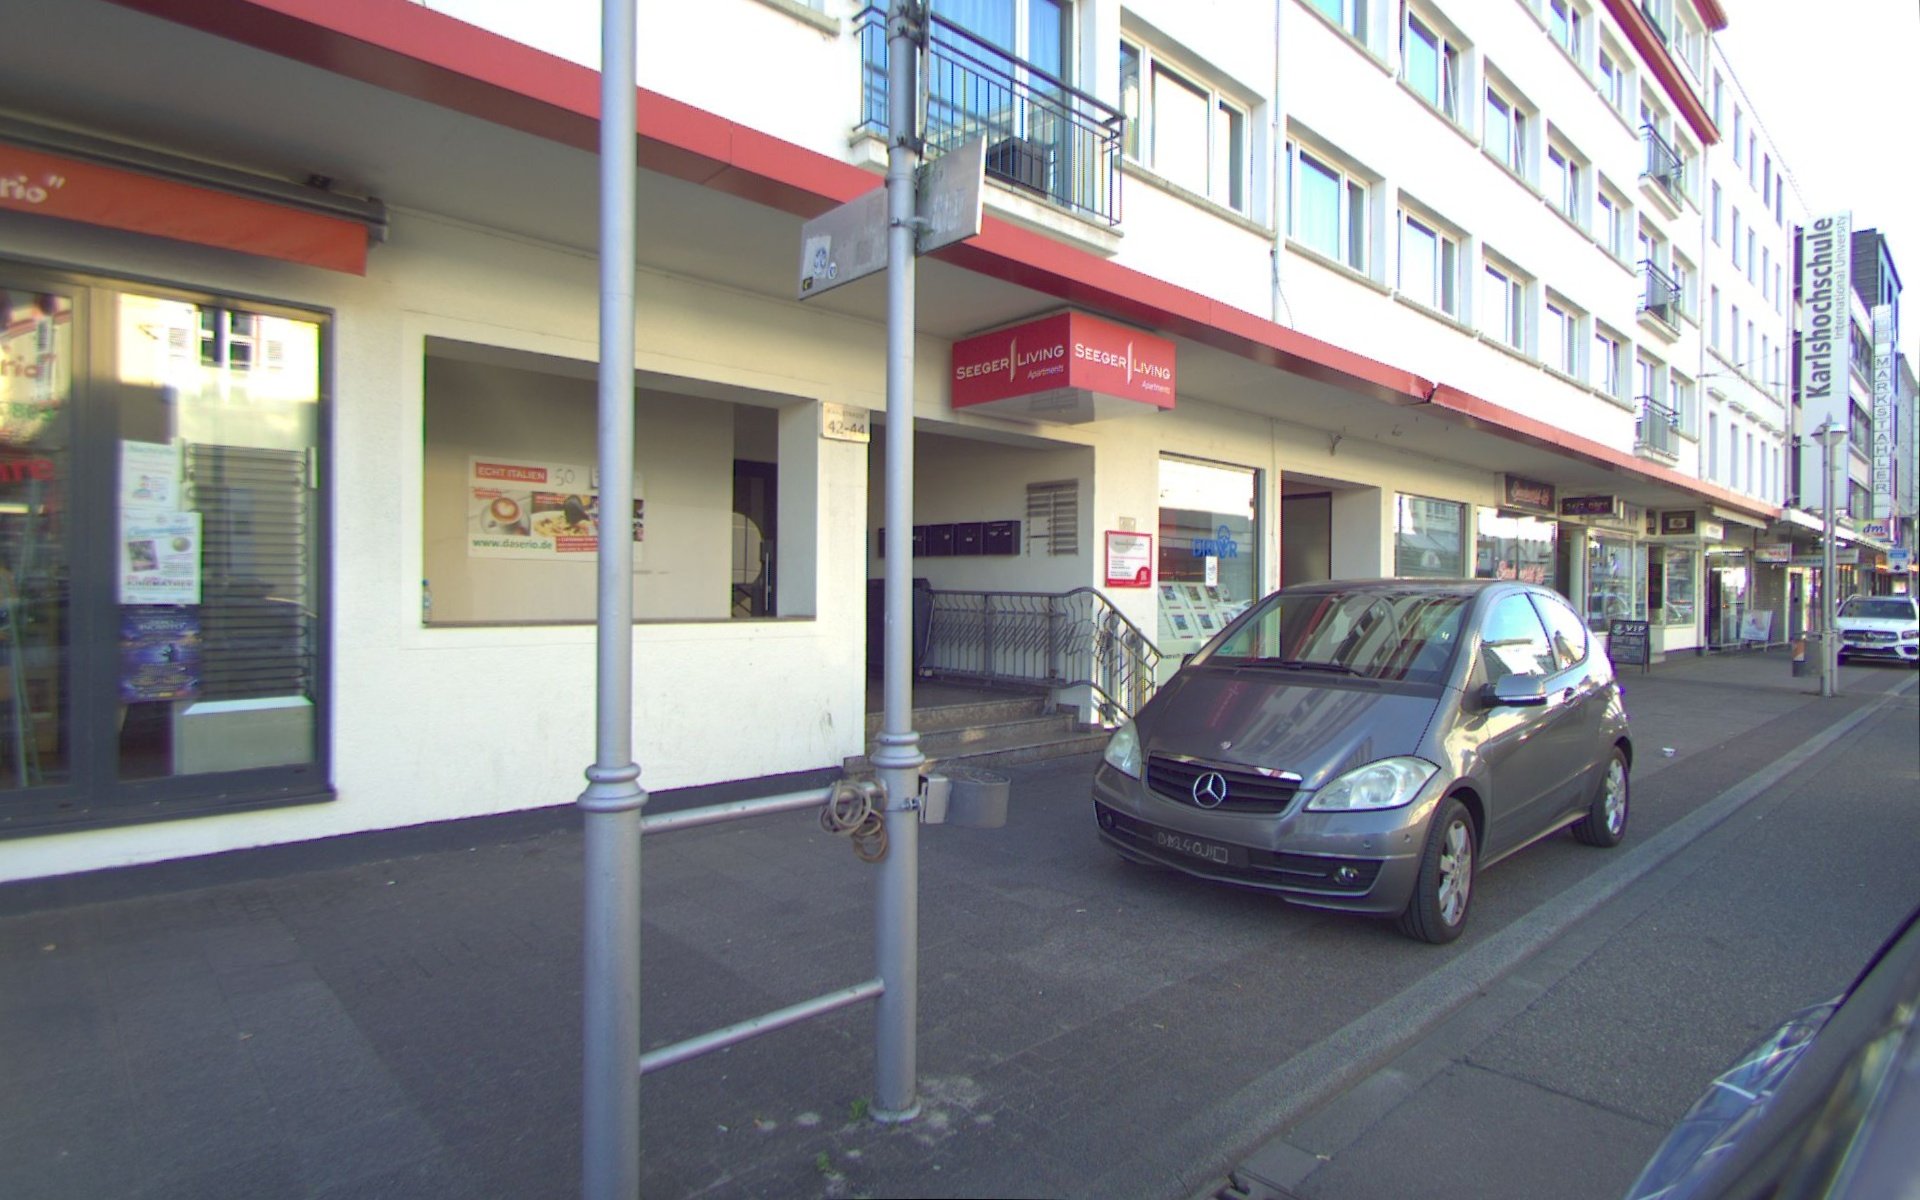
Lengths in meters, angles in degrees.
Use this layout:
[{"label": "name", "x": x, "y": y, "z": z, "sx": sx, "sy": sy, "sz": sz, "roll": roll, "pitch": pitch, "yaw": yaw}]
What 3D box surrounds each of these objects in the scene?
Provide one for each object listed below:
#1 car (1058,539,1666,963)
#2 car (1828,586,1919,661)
[{"label": "car", "x": 2.483, "y": 0.559, "z": 5.704, "sx": 3.932, "sy": 1.565, "sz": 1.681, "roll": 0, "pitch": 0, "yaw": -43}, {"label": "car", "x": 22.395, "y": 0.517, "z": 24.352, "sx": 1.994, "sy": 1.650, "sz": 3.935, "roll": 1, "pitch": 1, "yaw": 45}]
